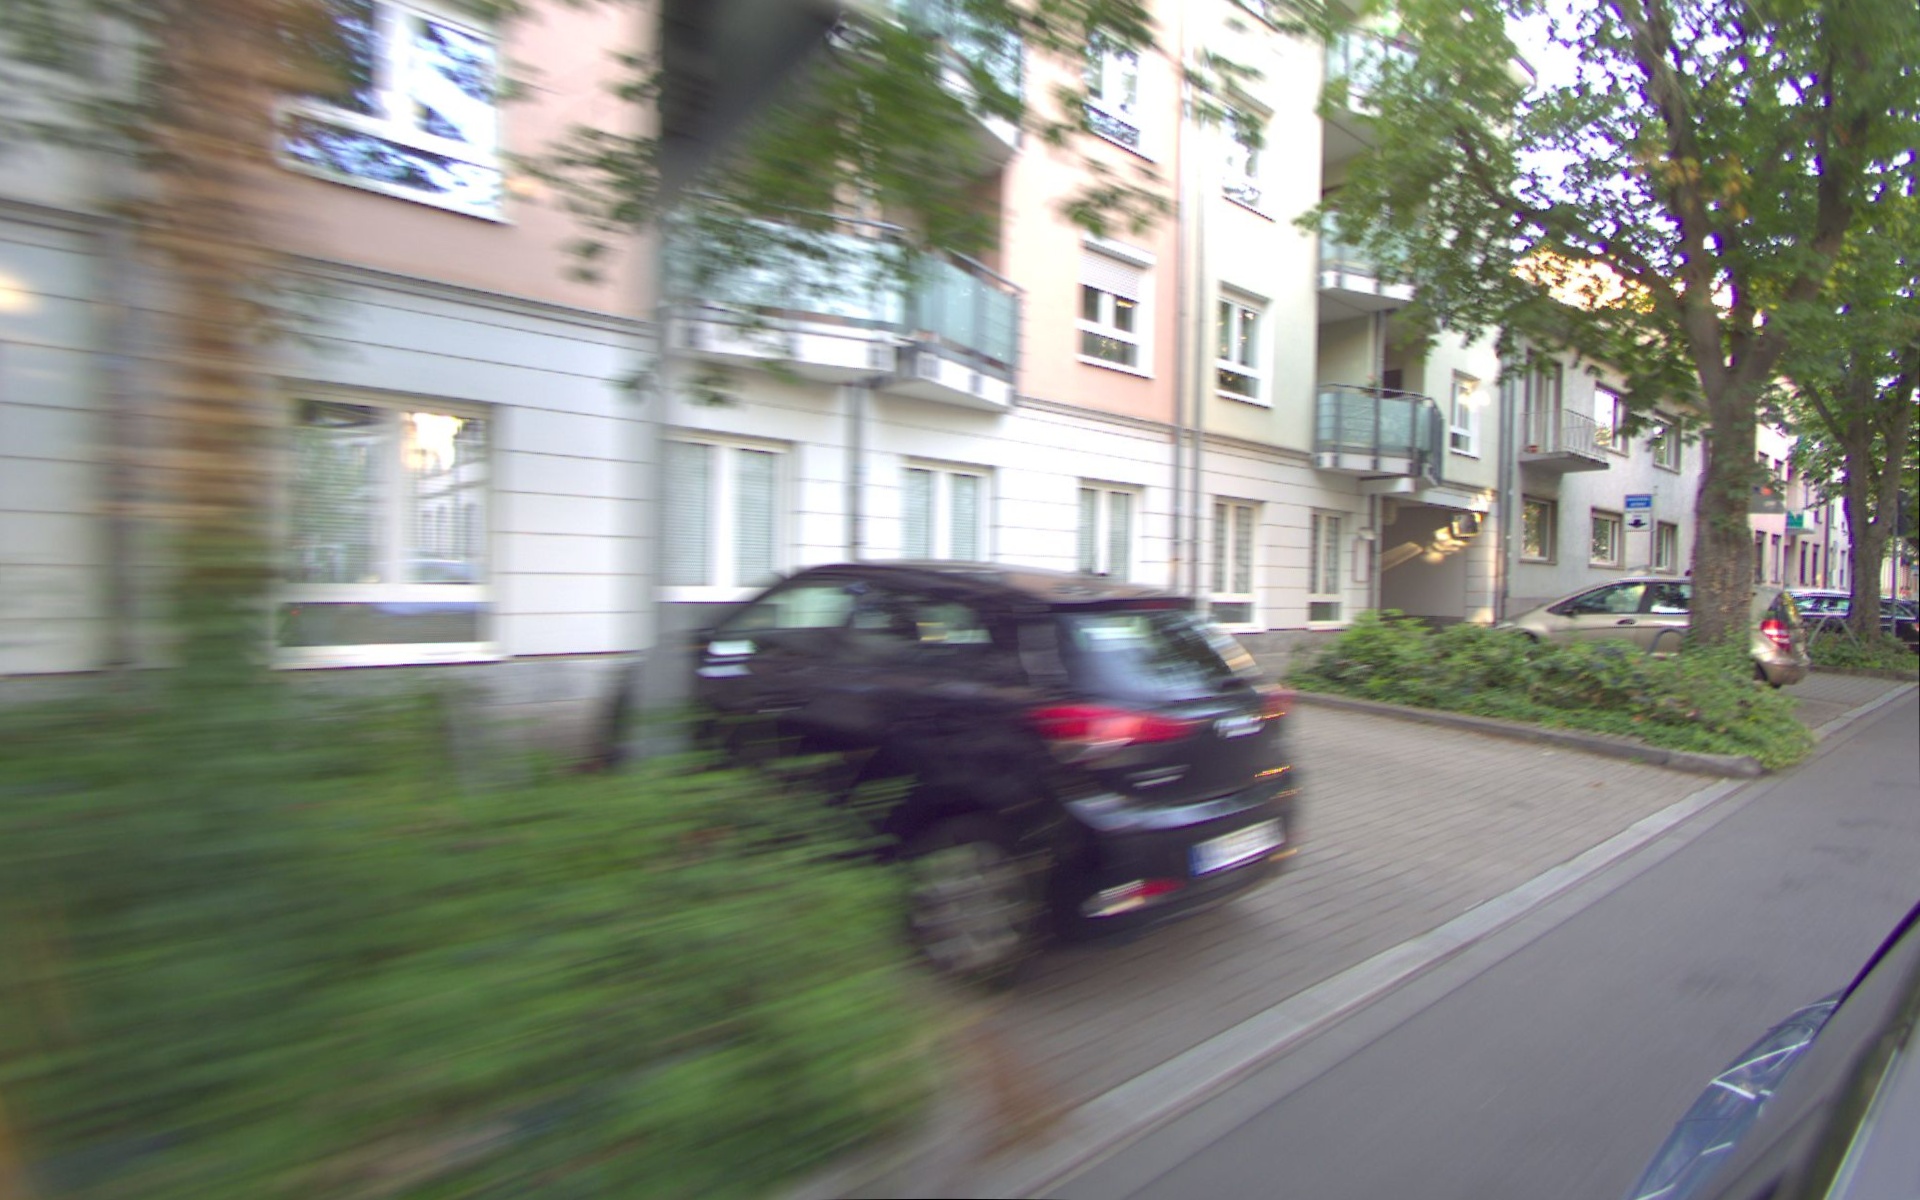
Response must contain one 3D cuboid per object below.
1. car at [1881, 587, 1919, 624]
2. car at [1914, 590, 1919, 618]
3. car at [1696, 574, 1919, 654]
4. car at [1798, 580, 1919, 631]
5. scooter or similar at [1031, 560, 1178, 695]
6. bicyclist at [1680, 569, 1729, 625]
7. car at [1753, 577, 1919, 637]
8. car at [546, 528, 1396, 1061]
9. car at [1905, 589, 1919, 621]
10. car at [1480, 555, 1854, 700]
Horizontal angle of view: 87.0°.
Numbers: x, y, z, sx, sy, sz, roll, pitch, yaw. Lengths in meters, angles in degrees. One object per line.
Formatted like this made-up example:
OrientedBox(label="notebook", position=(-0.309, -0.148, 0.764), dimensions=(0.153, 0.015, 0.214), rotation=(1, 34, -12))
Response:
OrientedBox(label="car", position=(41.080, 0.274, 42.035), dimensions=(1.768, 1.509, 4.085), rotation=(0, 1, -44))
OrientedBox(label="car", position=(50.357, 0.283, 50.571), dimensions=(3.837, 1.428, 1.685), rotation=(4, 3, 45))
OrientedBox(label="car", position=(19.735, 0.264, 22.942), dimensions=(1.973, 1.444, 4.475), rotation=(0, 4, -36))
OrientedBox(label="car", position=(30.811, 0.221, 33.142), dimensions=(2.005, 1.465, 4.854), rotation=(0, 4, -39))
OrientedBox(label="scooter or similar", position=(1.457, 0.240, 10.109), dimensions=(1.431, 1.217, 0.655), rotation=(0, 4, -44))
OrientedBox(label="bicyclist", position=(21.932, -0.100, 29.825), dimensions=(1.117, 1.624, 0.971), rotation=(0, 2, -45))
OrientedBox(label="car", position=(25.966, 0.191, 29.034), dimensions=(1.965, 1.405, 4.691), rotation=(0, 4, -39))
OrientedBox(label="car", position=(-0.264, 0.479, 5.133), dimensions=(4.086, 1.468, 1.904), rotation=(7, 5, 44))
OrientedBox(label="car", position=(47.233, 0.300, 46.898), dimensions=(1.953, 1.516, 4.883), rotation=(0, 1, -41))
OrientedBox(label="car", position=(9.931, 0.267, 14.454), dimensions=(1.883, 1.604, 3.978), rotation=(0, 4, -41))
